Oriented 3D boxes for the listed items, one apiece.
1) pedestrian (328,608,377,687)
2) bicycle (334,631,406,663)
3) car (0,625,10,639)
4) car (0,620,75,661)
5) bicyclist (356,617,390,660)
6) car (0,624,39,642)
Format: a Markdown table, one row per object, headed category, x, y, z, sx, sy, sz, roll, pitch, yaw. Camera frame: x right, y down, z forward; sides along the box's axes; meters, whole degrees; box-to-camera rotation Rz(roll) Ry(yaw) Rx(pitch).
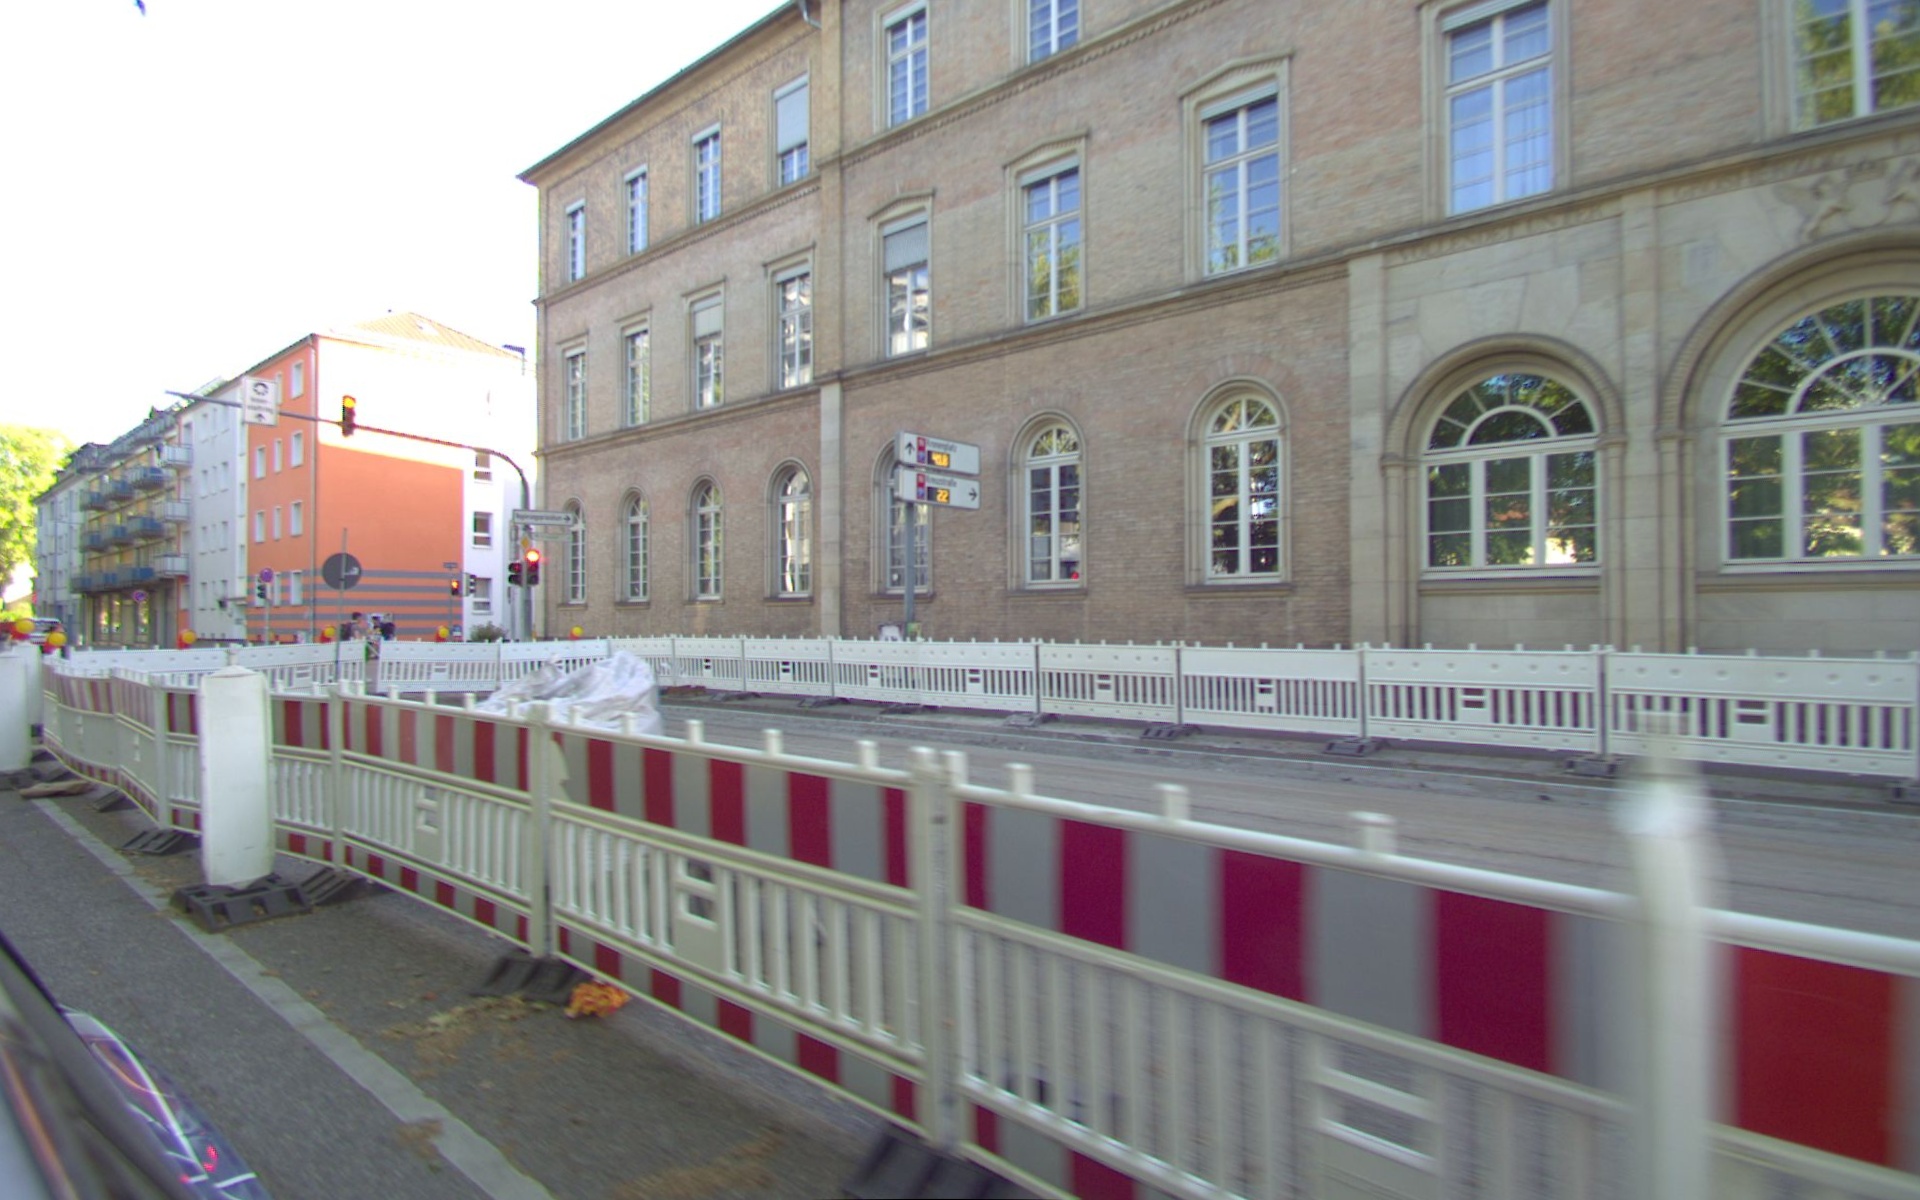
| category | x | y | z | sx | sy | sz | roll | pitch | yaw |
| --- | --- | --- | --- | --- | --- | --- | --- | --- | --- |
| pedestrian | -14.071 | 1.086 | 23.436 | 0.870 | 1.785 | 0.749 | 1 | -2 | -39 |
| bicycle | -19.336 | 1.551 | 33.170 | 1.960 | 1.007 | 0.792 | 2 | -5 | -36 |
| car | -113.309 | 3.721 | 117.699 | 1.833 | 1.712 | 3.943 | -2 | -2 | 43 |
| car | -44.235 | 1.958 | 48.304 | 5.115 | 1.831 | 1.975 | -3 | -3 | 37 |
| bicyclist | -19.280 | 1.275 | 33.231 | 0.824 | 1.383 | 0.793 | 3 | -5 | -36 |
| car | -94.445 | 3.267 | 100.703 | 1.833 | 1.712 | 3.943 | -2 | -2 | 43 |
